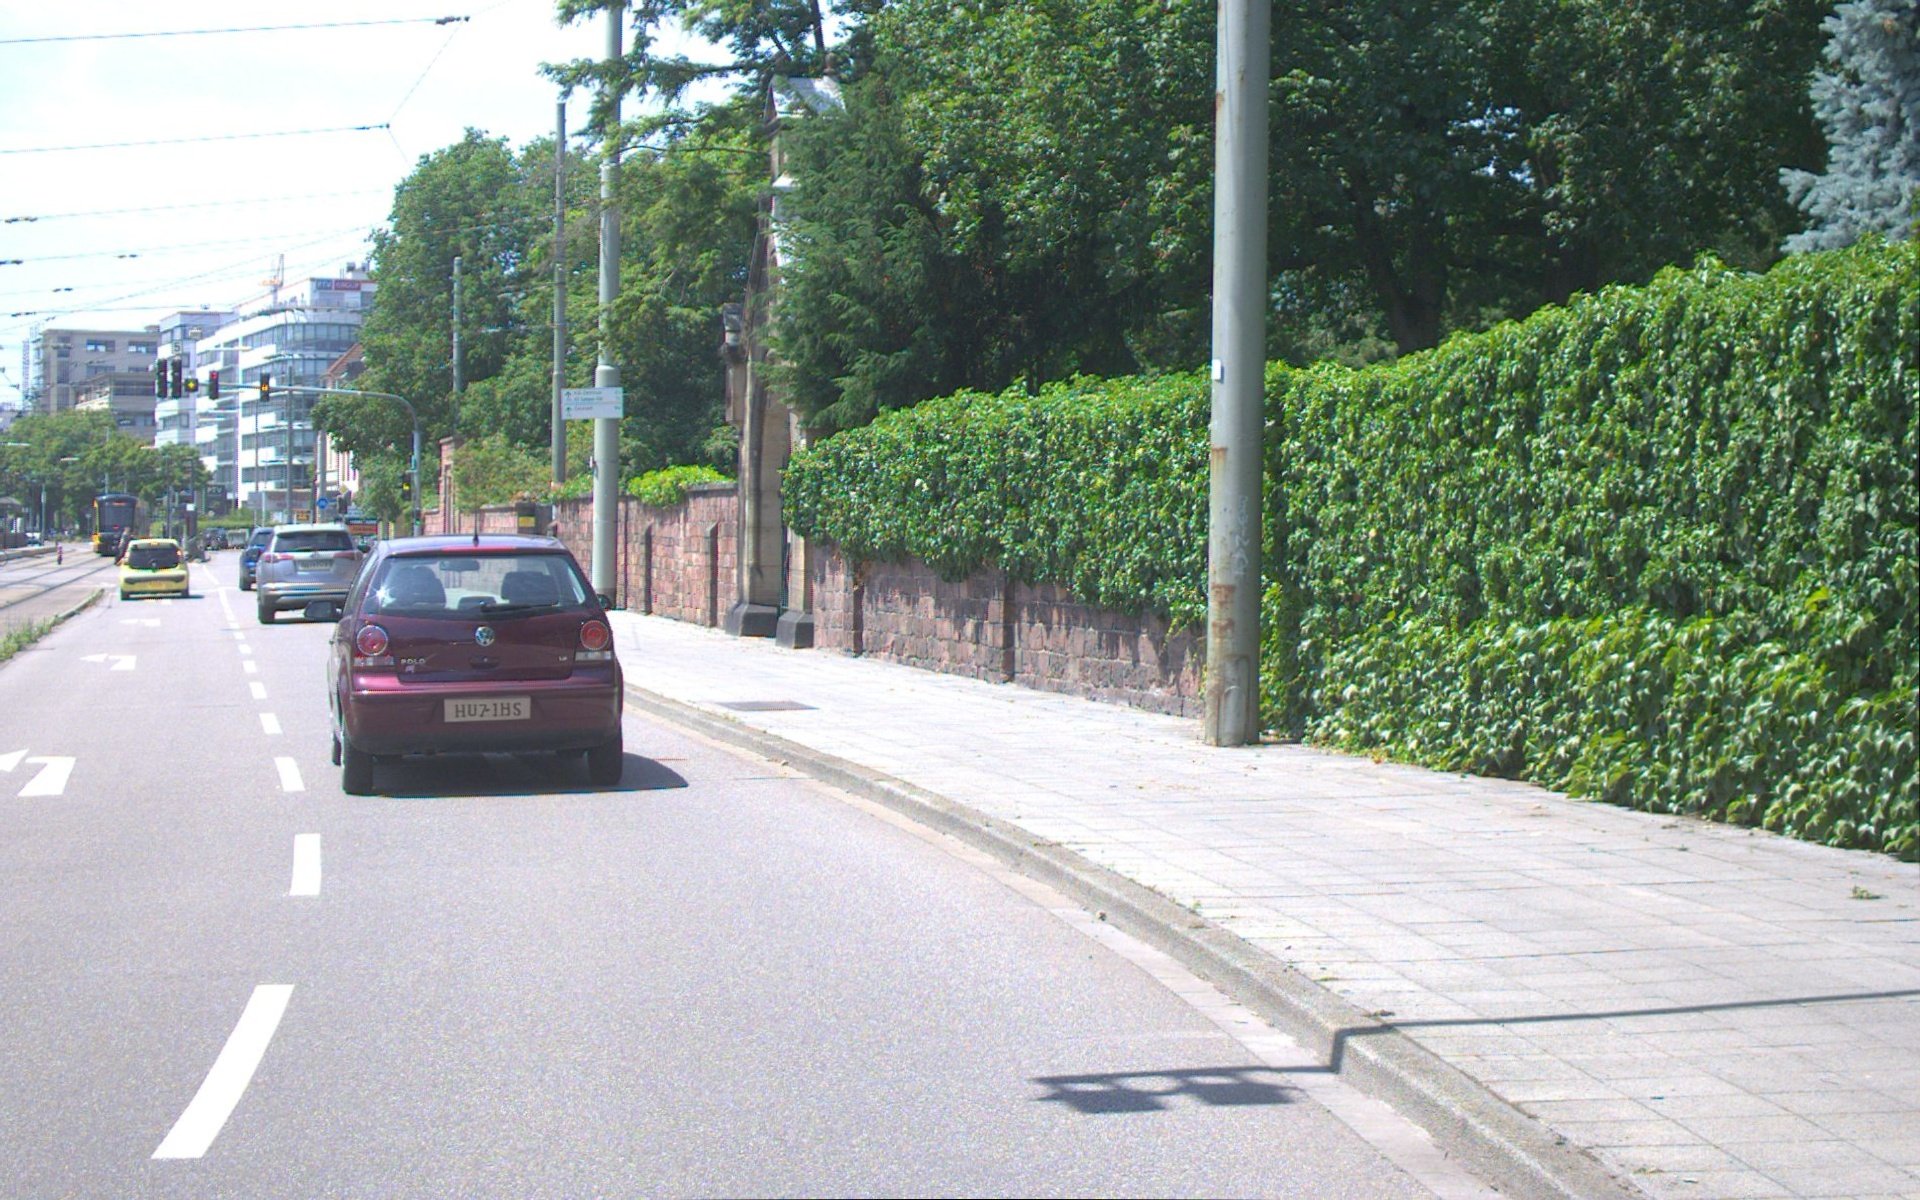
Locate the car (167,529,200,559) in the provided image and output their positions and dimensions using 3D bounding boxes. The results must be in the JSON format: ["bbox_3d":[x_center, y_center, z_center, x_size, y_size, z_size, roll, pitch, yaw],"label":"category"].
[{"bbox_3d":[-33.803,-2.461,149.731,1.353,1.248,2.973,1,1,-12],"label":"car"}]

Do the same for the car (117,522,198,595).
[{"bbox_3d":[-19.477,-1.036,83.545,1.794,1.677,4.001,1,1,-12],"label":"car"}]

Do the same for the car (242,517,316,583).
[{"bbox_3d":[-17.664,-1.327,89.332,1.773,1.625,4.001,1,1,-10],"label":"car"}]

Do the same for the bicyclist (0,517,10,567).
[{"bbox_3d":[-40.645,-2.453,145.097,0.956,2.084,0.853,-1,1,-25],"label":"bicyclist"}]

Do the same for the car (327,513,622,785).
[{"bbox_3d":[-3.007,0.227,20.987,1.609,1.493,4.001,0,1,-9],"label":"car"}]

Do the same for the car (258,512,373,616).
[{"bbox_3d":[-11.008,-0.639,58.559,1.794,1.677,4.001,1,1,-12],"label":"car"}]

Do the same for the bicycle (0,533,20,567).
[{"bbox_3d":[-40.971,-2.111,144.961,2.509,1.414,0.637,-1,1,-25],"label":"bicycle"}]
